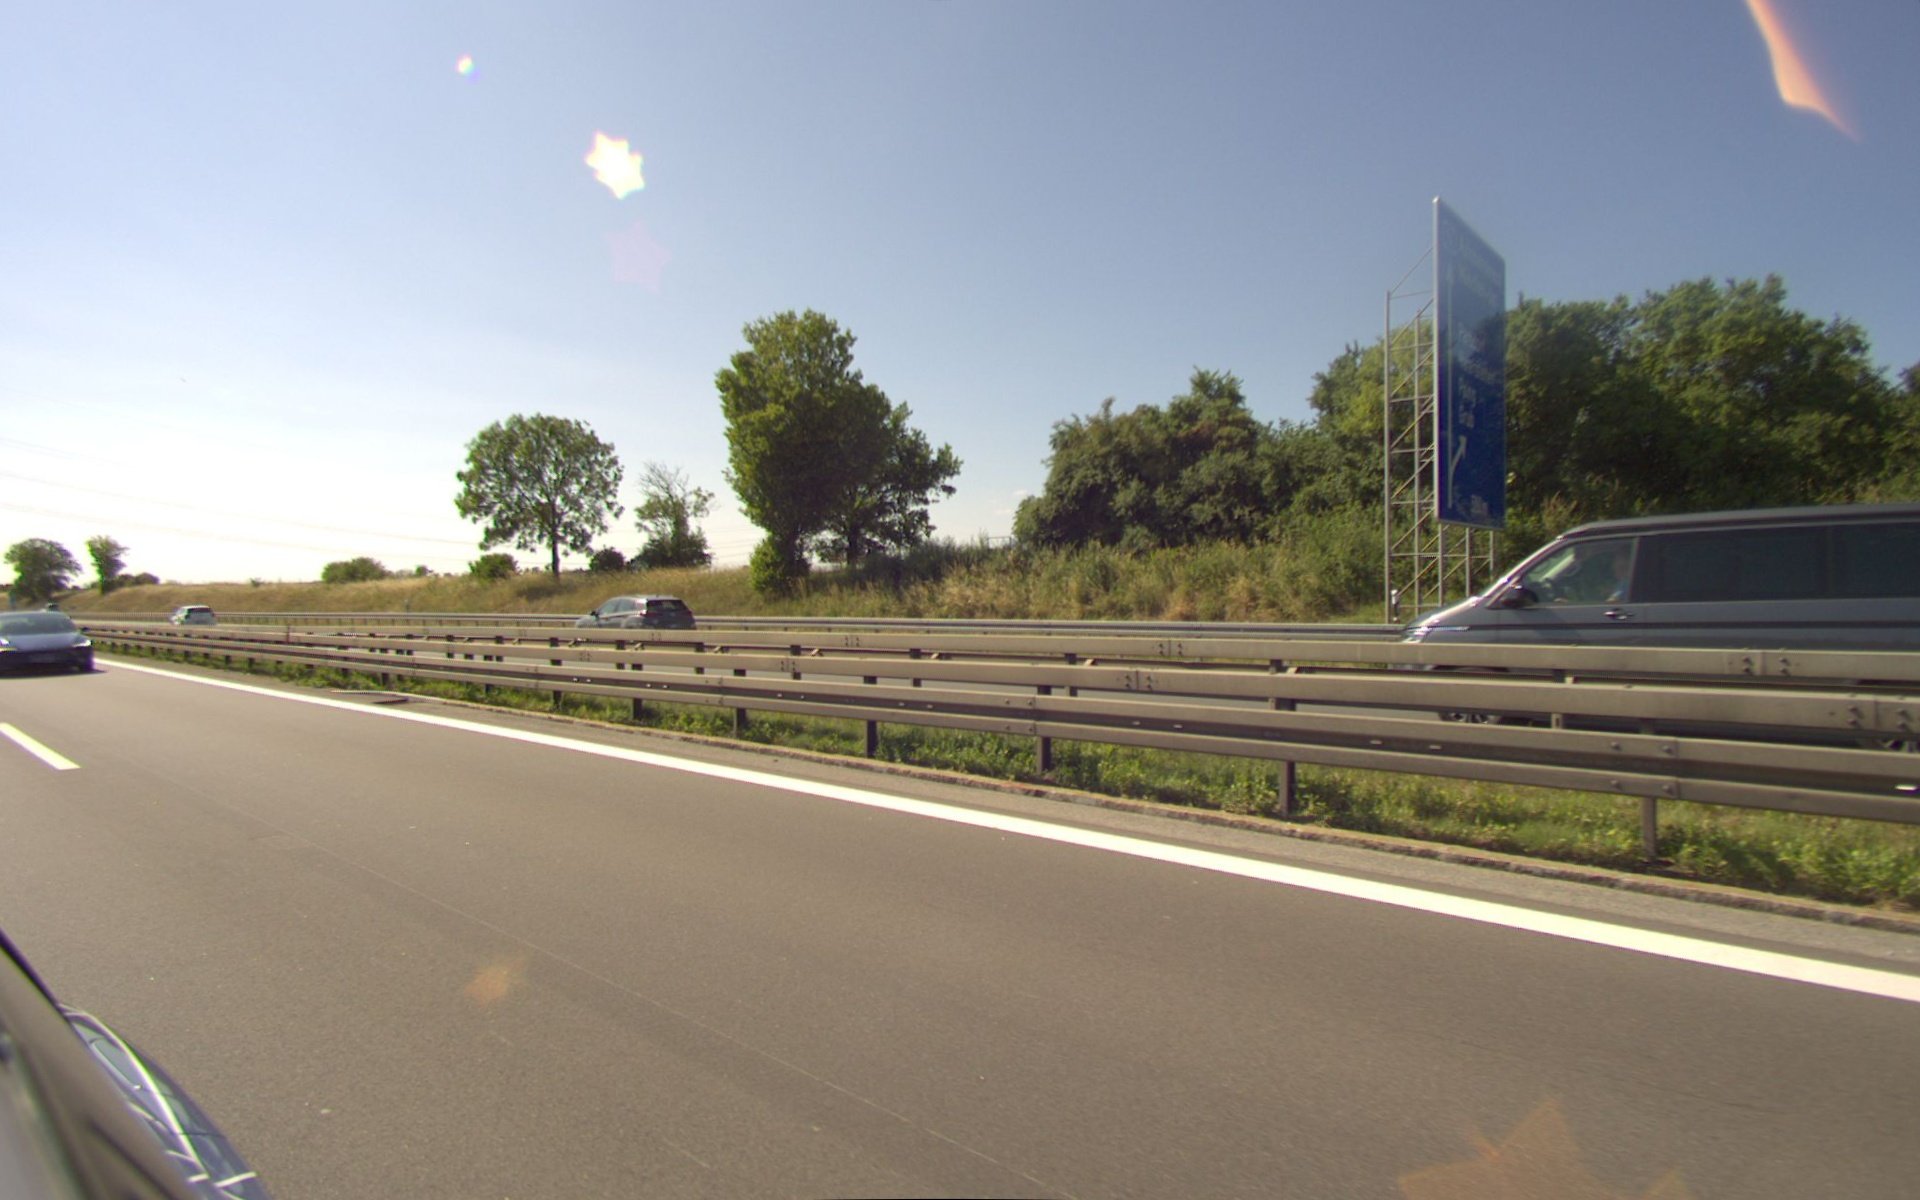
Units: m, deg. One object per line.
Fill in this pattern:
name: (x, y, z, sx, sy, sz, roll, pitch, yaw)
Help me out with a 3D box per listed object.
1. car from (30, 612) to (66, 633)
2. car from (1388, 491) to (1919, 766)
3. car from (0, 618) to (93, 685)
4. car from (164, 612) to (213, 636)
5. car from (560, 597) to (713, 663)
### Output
car: (-85.898, 2.116, 95.322, 5.182, 1.859, 1.925, -1, 1, 42)
car: (6.675, 0.204, 8.840, 5.037, 1.987, 1.973, -1, 0, 41)
car: (-22.566, 1.157, 24.413, 5.865, 1.443, 1.827, -1, -1, 42)
car: (-46.273, 1.446, 60.665, 4.230, 1.362, 1.506, -1, 1, 42)
car: (-8.940, 0.783, 27.808, 4.485, 1.624, 1.973, -1, 0, 41)
